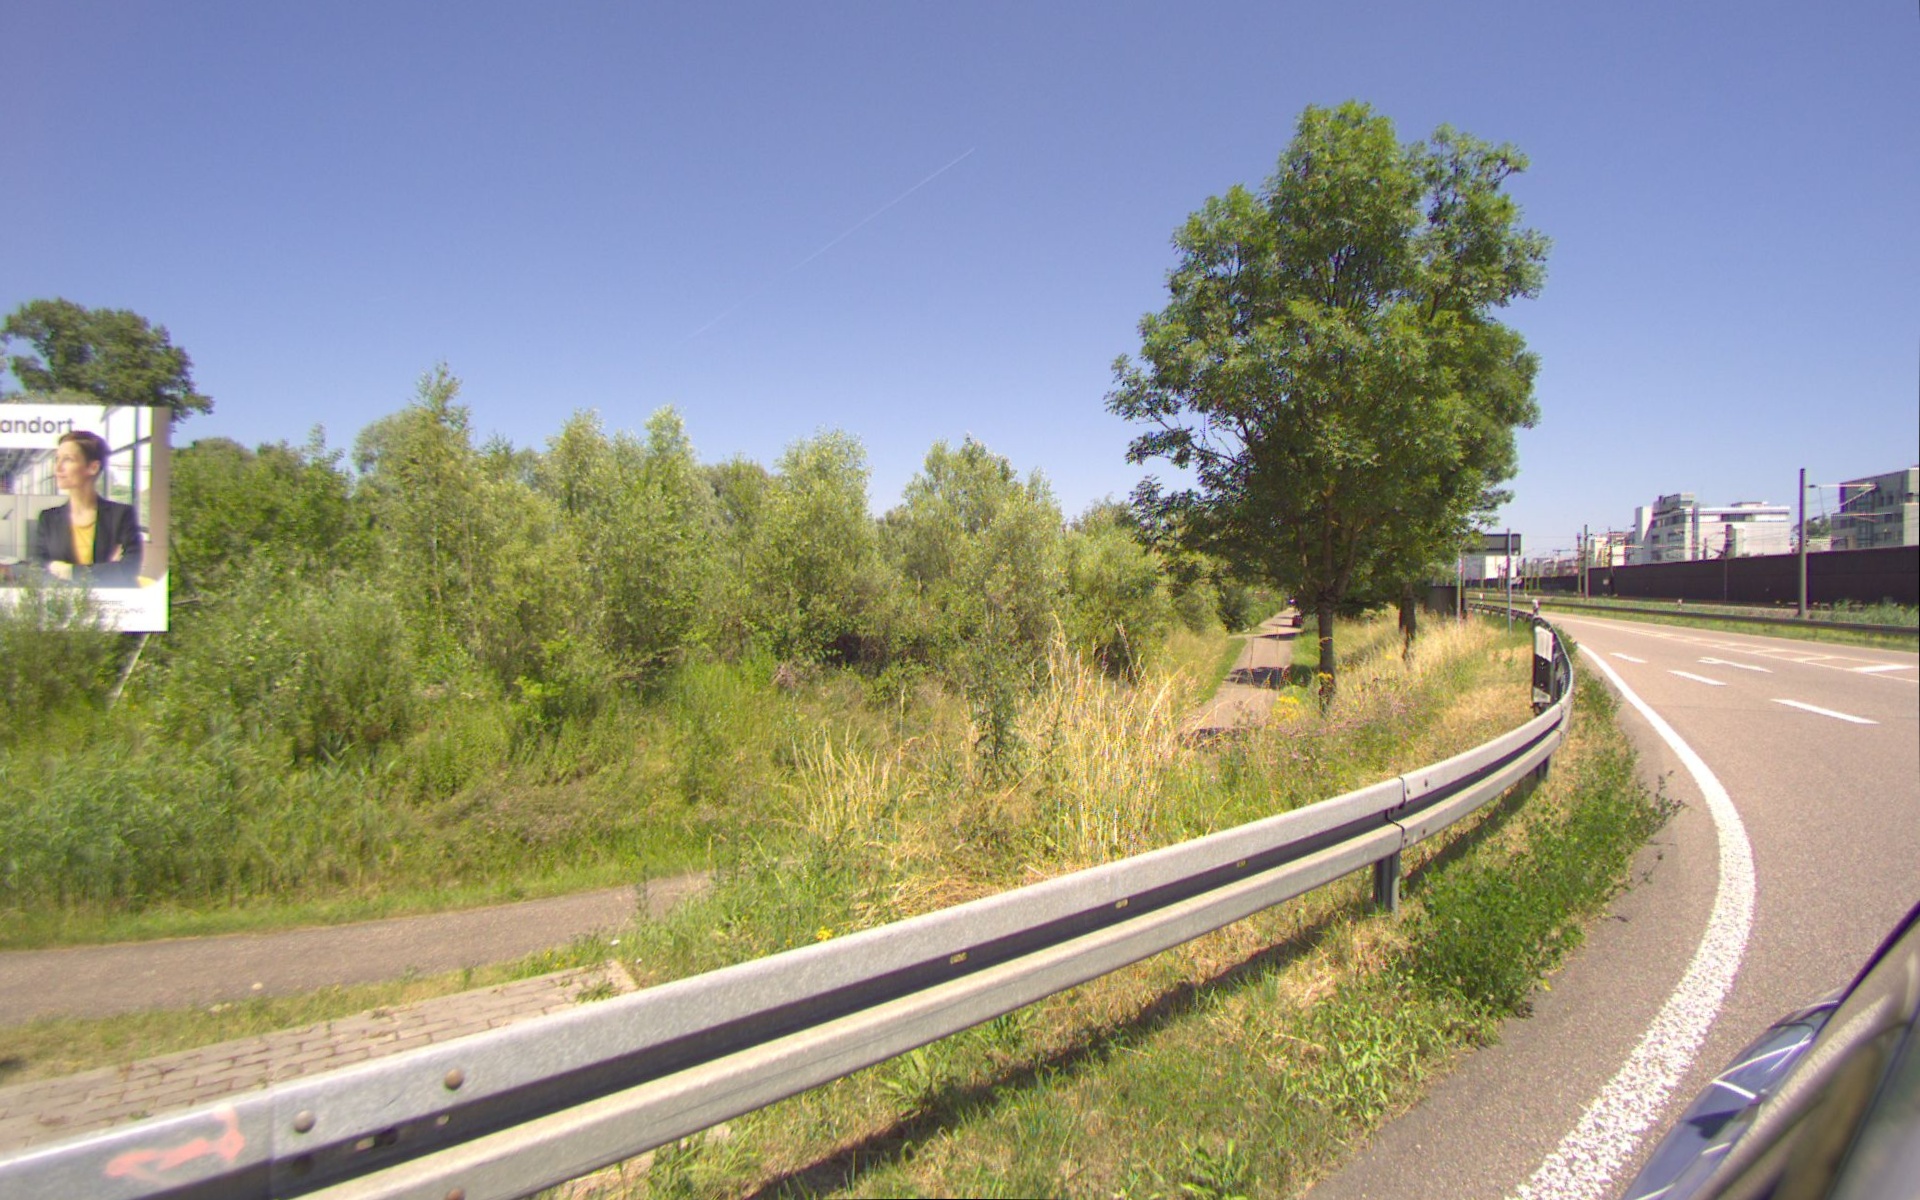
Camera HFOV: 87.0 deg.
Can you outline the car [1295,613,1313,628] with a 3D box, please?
[{"bbox_3d":[41.238,2.415,121.327,1.975,1.705,3.973,0,0,20],"label":"car"}]
